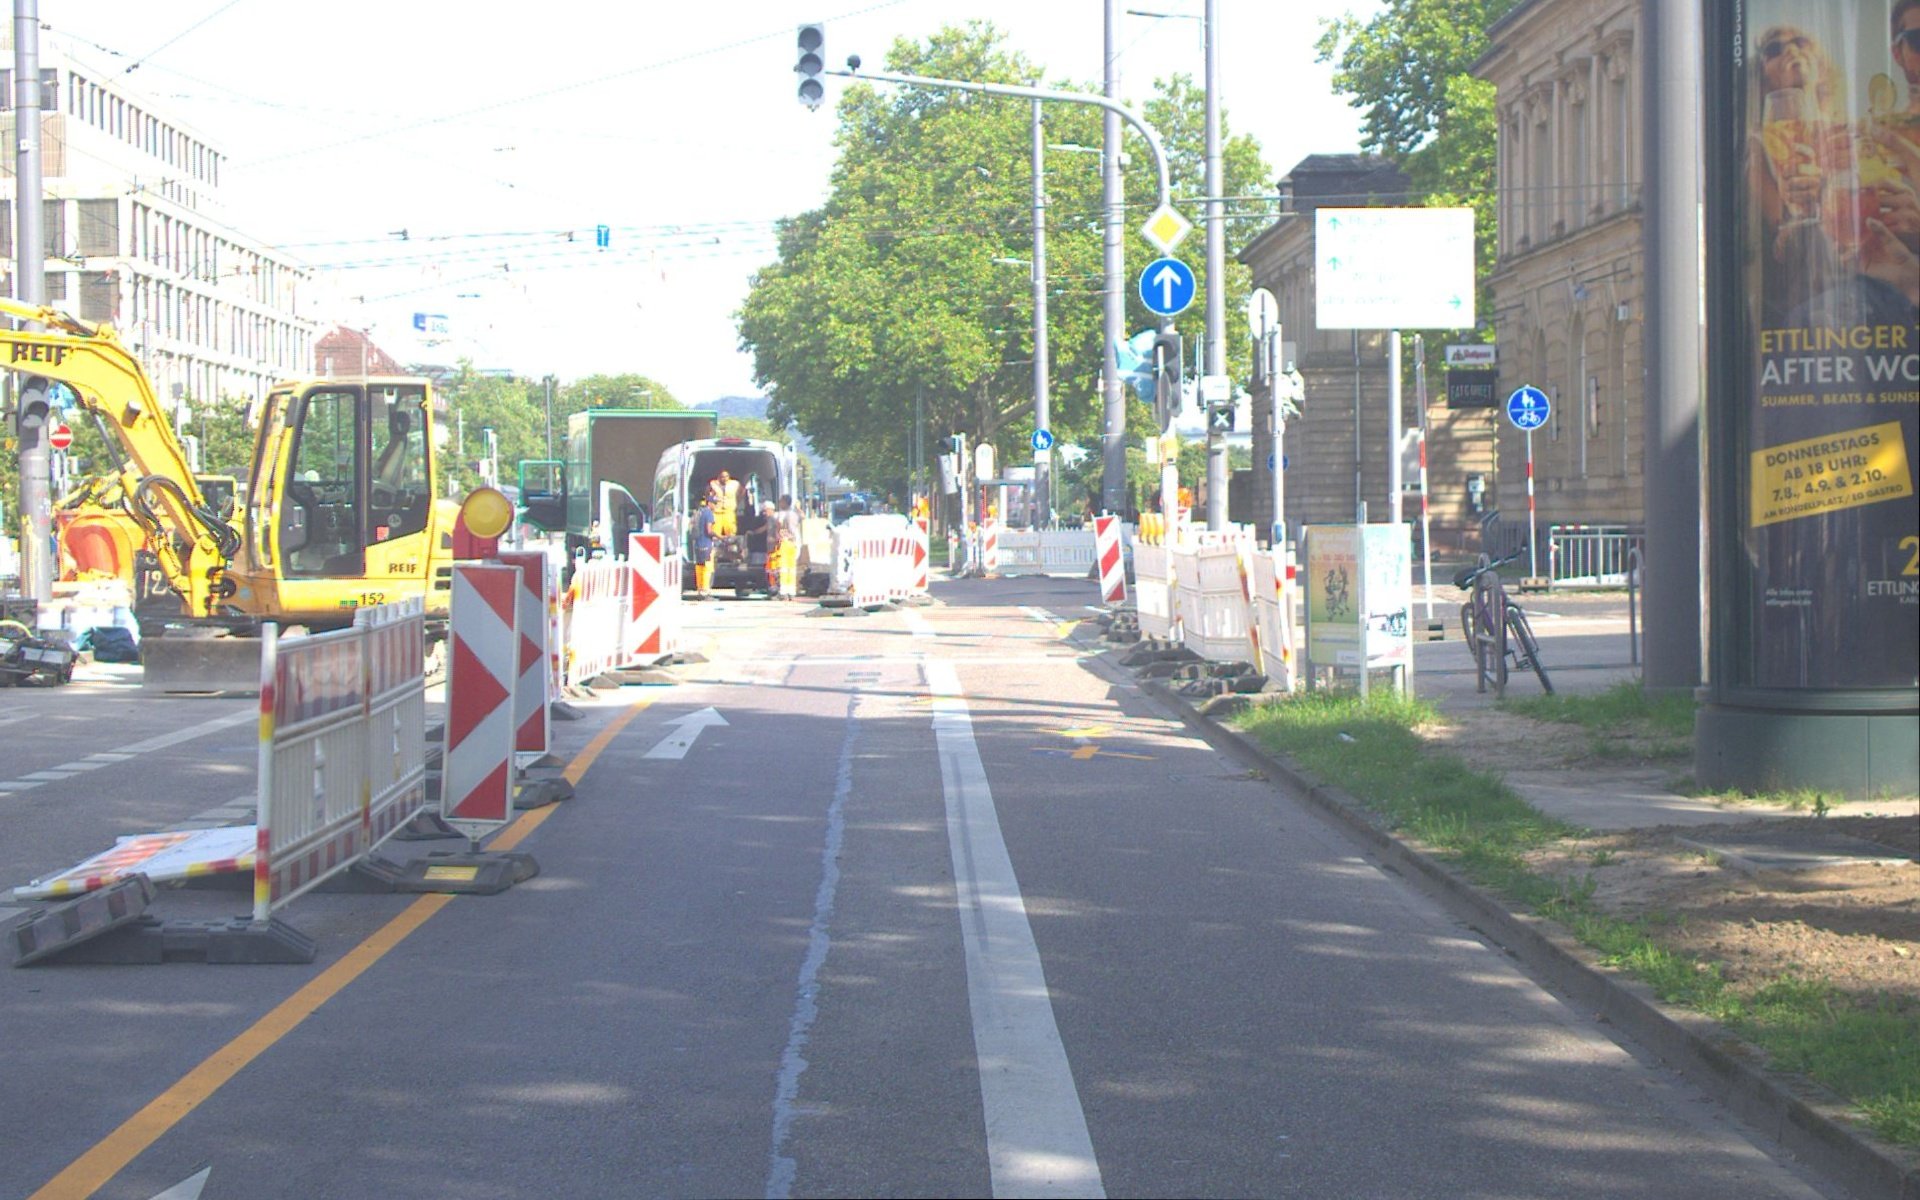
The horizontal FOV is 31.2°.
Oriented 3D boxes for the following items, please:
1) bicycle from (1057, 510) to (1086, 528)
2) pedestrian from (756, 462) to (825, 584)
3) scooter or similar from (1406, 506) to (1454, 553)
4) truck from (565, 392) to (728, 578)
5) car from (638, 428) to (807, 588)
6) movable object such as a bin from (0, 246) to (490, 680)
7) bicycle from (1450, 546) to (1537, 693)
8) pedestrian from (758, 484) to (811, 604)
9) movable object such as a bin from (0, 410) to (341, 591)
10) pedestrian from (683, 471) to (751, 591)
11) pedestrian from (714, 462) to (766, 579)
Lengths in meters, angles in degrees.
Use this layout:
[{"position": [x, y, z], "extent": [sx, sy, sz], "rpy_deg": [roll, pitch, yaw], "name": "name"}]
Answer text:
[{"position": [6.431, -4.657, 198.251], "extent": [1.656, 0.966, 0.506], "rpy_deg": [-3, 1, 5], "name": "bicycle"}, {"position": [-2.848, -1.293, 57.718], "extent": [0.735, 2.007, 0.905], "rpy_deg": [-1, 1, 32], "name": "pedestrian"}, {"position": [12.714, -1.914, 93.064], "extent": [1.251, 1.205, 0.423], "rpy_deg": [-3, 3, -26], "name": "scooter or similar"}, {"position": [-6.689, -2.394, 72.307], "extent": [2.673, 3.665, 8.216], "rpy_deg": [-1, 2, -10], "name": "truck"}, {"position": [-4.305, -1.624, 61.488], "extent": [2.224, 2.720, 5.172], "rpy_deg": [-1, 1, -13], "name": "car"}, {"position": [-7.055, -1.083, 27.701], "extent": [6.142, 3.334, 2.117], "rpy_deg": [-1, 1, -20], "name": "movable object such as a bin"}, {"position": [3.745, 0.123, 24.196], "extent": [0.410, 0.983, 1.376], "rpy_deg": [-1, 1, 1], "name": "bicycle"}, {"position": [-2.993, -0.956, 58.650], "extent": [0.734, 2.007, 0.907], "rpy_deg": [-1, 1, 6], "name": "pedestrian"}, {"position": [-18.701, -2.379, 81.387], "extent": [3.508, 3.999, 9.031], "rpy_deg": [0, 2, 23], "name": "movable object such as a bin"}, {"position": [-4.116, -1.179, 58.297], "extent": [0.735, 2.007, 0.906], "rpy_deg": [-1, 1, 31], "name": "pedestrian"}, {"position": [-3.817, -1.384, 59.726], "extent": [0.734, 2.007, 0.907], "rpy_deg": [-1, 1, 4], "name": "pedestrian"}]
